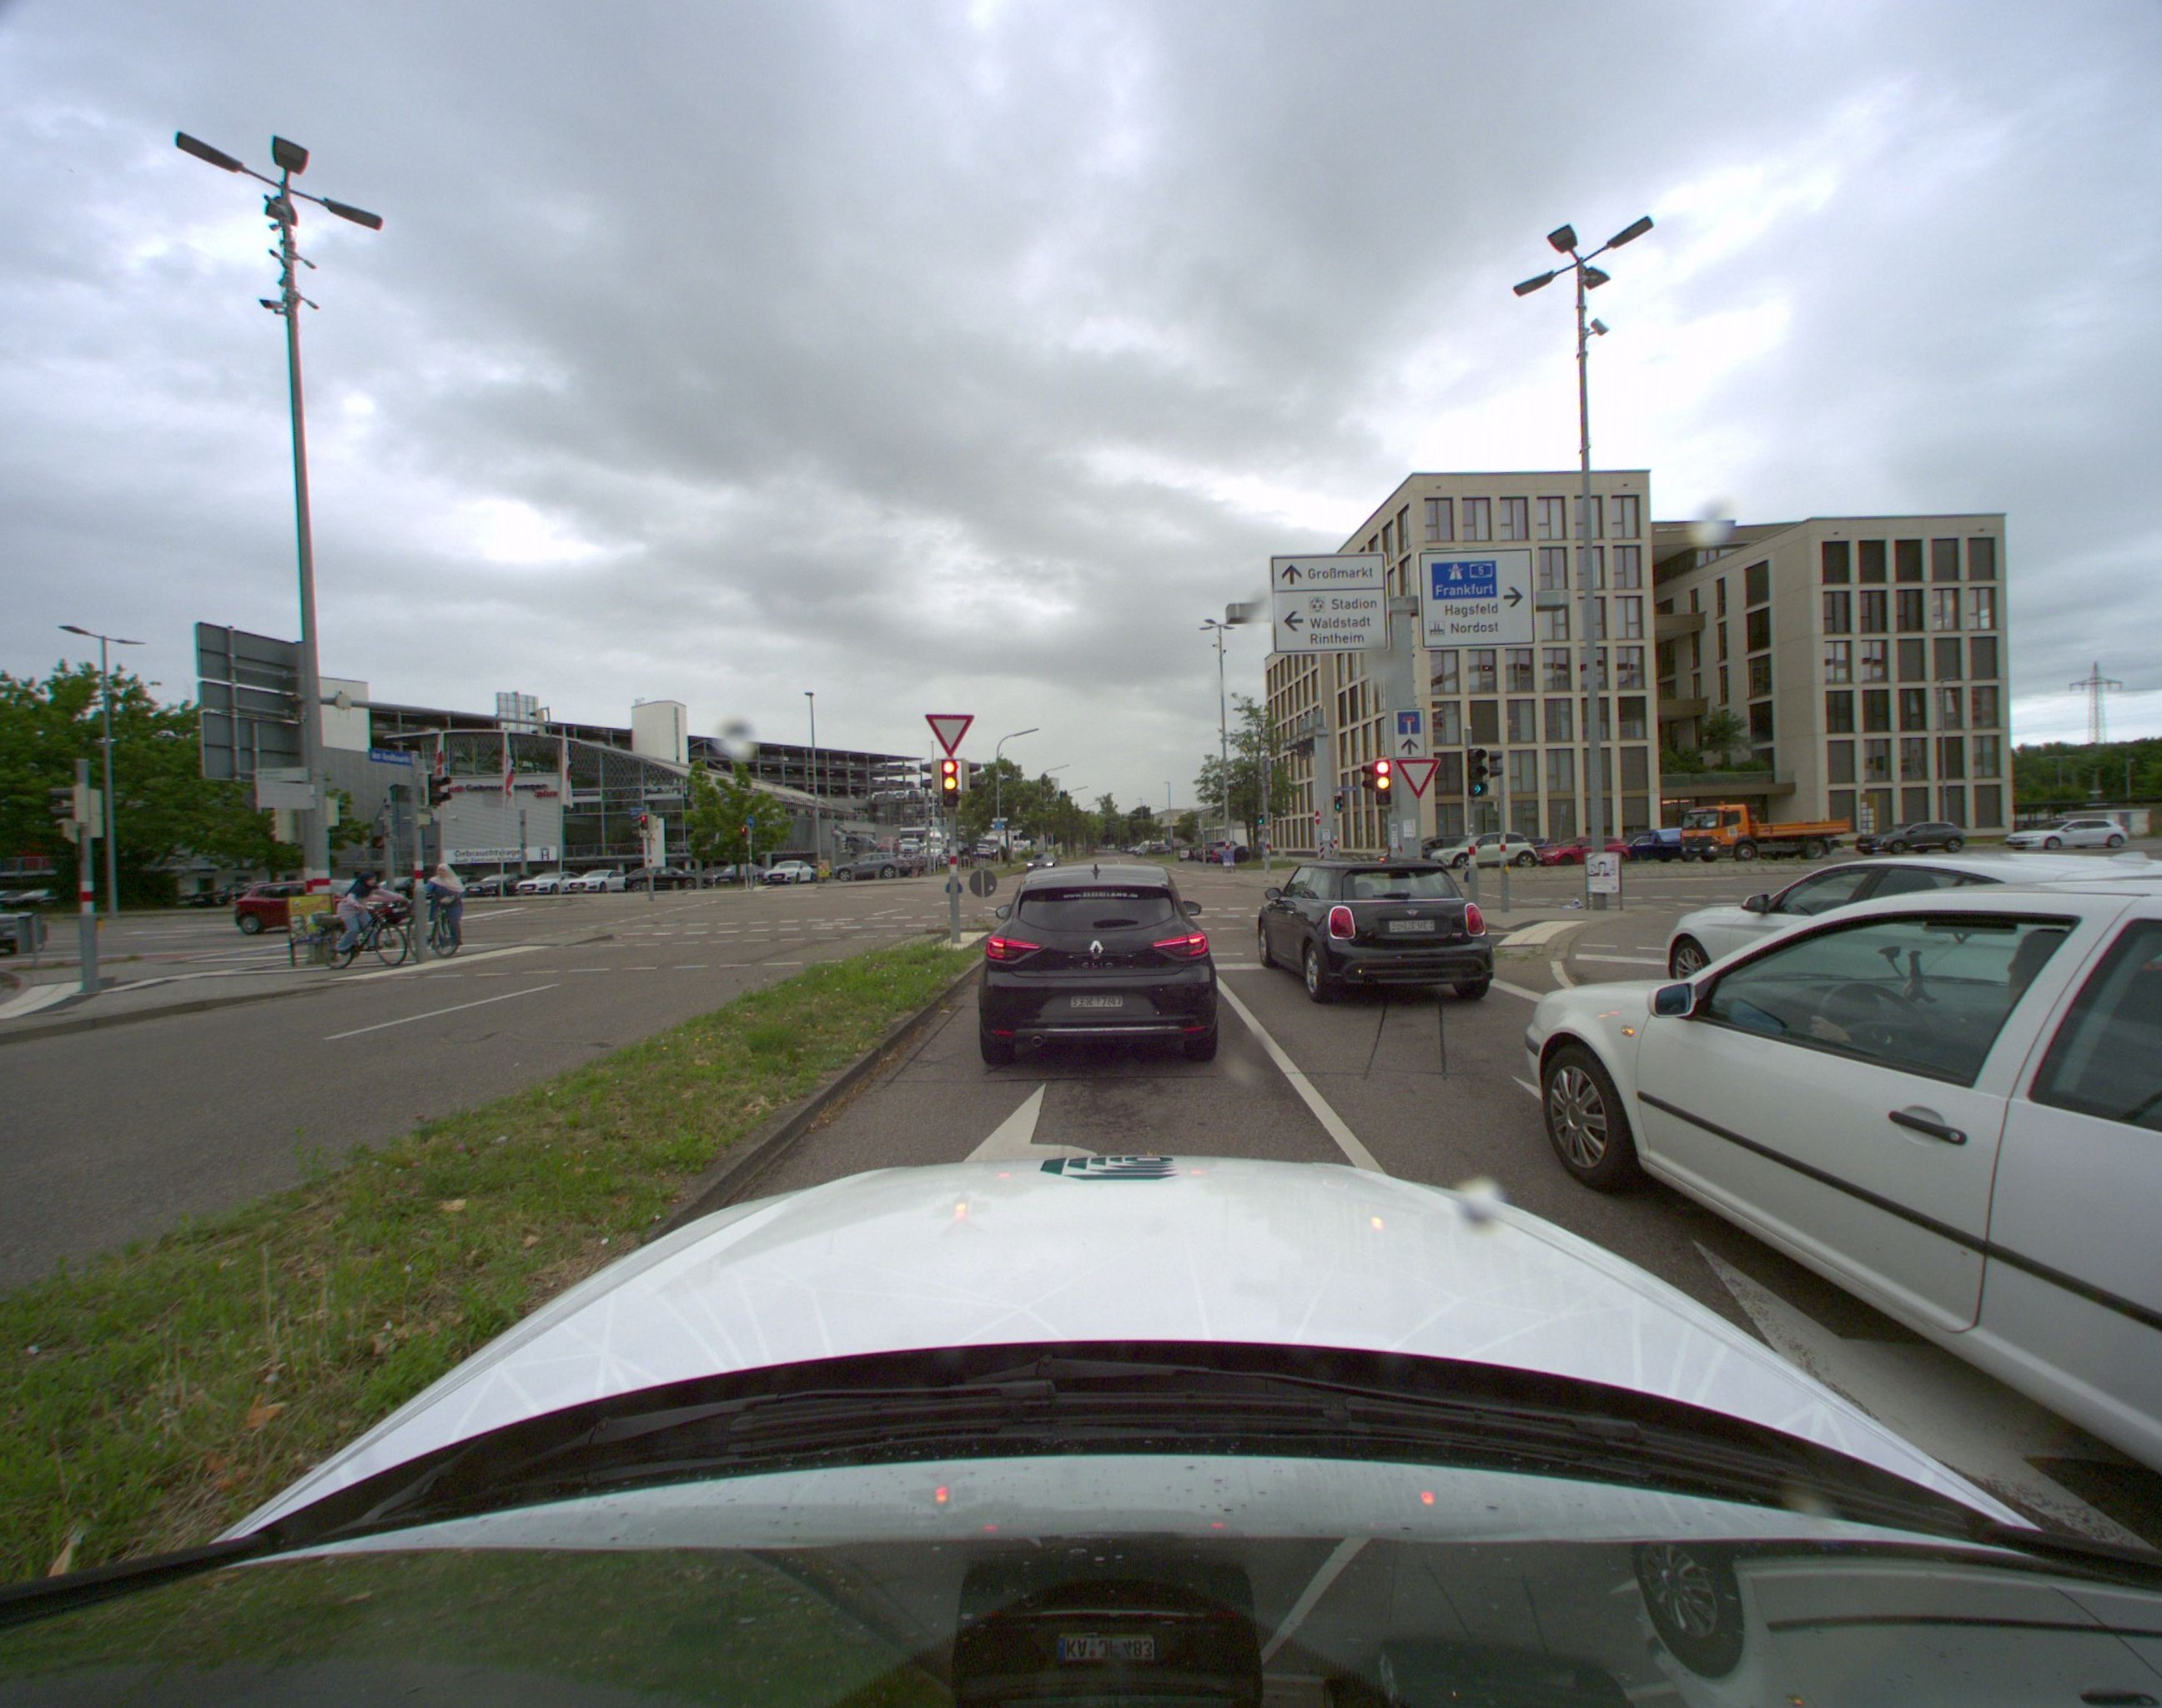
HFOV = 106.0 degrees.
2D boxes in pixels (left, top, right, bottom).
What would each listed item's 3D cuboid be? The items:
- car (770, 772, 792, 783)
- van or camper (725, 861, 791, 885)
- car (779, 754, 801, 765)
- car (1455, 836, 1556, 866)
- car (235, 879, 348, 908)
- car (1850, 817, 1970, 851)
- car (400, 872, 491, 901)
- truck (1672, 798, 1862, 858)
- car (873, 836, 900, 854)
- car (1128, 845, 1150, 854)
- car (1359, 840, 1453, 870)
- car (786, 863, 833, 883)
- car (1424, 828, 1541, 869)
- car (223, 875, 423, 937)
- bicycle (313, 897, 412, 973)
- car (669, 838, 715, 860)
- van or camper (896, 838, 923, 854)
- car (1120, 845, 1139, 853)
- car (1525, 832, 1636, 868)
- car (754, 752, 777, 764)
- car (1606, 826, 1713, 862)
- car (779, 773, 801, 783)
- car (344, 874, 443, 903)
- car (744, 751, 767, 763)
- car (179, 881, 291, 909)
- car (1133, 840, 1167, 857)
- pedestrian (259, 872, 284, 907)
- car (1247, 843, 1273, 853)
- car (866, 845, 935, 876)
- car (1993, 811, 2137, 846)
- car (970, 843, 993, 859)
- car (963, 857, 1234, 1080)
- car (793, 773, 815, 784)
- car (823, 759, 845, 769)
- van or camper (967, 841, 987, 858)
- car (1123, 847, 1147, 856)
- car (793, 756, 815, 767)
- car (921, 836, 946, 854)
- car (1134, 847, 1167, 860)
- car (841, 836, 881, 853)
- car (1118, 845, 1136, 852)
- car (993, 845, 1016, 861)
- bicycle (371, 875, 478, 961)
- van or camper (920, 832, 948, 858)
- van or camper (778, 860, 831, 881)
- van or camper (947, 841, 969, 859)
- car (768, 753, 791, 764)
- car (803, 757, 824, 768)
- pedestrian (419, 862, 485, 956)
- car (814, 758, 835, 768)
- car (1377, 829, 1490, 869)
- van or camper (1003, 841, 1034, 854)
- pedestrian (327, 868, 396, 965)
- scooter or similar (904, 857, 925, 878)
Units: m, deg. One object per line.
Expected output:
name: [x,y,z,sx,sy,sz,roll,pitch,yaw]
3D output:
car: [-56.700,-14.406,153.795,3.948,1.667,2.013,-1,0,33]
van or camper: [-23.429,1.386,59.133,3.977,1.677,1.998,0,-1,-3]
car: [-55.618,-17.962,155.559,3.948,1.667,2.013,-1,0,33]
car: [21.391,-0.138,41.129,4.126,1.490,1.870,0,-1,-3]
car: [-43.817,2.175,45.362,1.837,1.472,4.660,-1,-2,-2]
car: [42.554,-1.001,41.880,4.089,1.657,2.002,0,-1,3]
car: [-35.544,1.842,45.733,1.897,1.486,4.186,-2,-2,-2]
truck: [32.055,-1.169,38.237,6.633,2.638,2.820,0,-1,-1]
car: [-20.100,-0.904,84.243,1.988,1.849,3.997,0,-1,-2]
car: [12.480,-0.973,175.538,4.771,1.891,2.143,0,-1,-1]
car: [16.334,0.055,41.024,4.074,1.432,1.750,0,-1,-3]
car: [-25.973,1.811,78.046,3.979,1.838,1.757,0,-1,-4]
car: [16.920,-0.224,34.448,4.047,1.643,1.903,0,-1,-4]
car: [-22.341,1.506,24.123,4.058,1.487,1.738,-3,0,-5]
bicycle: [-11.758,1.314,13.306,1.923,1.166,0.511,-3,-2,26]
car: [-30.518,-0.394,63.961,1.815,1.662,3.996,0,-1,-3]
van or camper: [-17.663,-0.808,83.944,1.988,1.651,3.997,0,-1,-2]
car: [12.995,-1.396,218.115,5.156,2.014,2.144,0,-1,0]
car: [23.242,-0.157,37.976,3.976,1.601,1.999,0,-1,-2]
car: [-58.654,-17.871,151.366,3.948,1.667,2.013,-1,0,33]
car: [29.477,-0.495,41.588,4.126,1.769,1.998,0,-1,-3]
car: [-55.731,-14.531,155.855,3.948,1.667,2.013,-1,0,33]
car: [-38.402,1.956,45.636,1.883,1.471,4.375,-2,-2,-2]
car: [-59.699,-17.729,149.340,3.948,1.667,2.013,-1,0,33]
car: [-46.624,2.252,45.018,1.845,1.421,4.214,-2,-2,-2]
car: [12.770,-1.041,151.525,6.096,3.116,2.134,0,-1,0]
pedestrian: [-45.117,1.969,45.392,0.714,1.871,0.673,-2,-2,0]
car: [24.295,-0.836,110.464,3.238,1.332,1.477,0,-1,-17]
car: [-13.759,0.488,62.169,4.765,2.013,1.997,-4,0,-5]
car: [49.313,-1.246,40.910,4.319,1.657,2.006,-1,-1,10]
car: [-10.185,-0.293,83.874,1.988,1.618,3.997,0,-1,-2]
car: [0.174,0.761,7.287,1.750,1.434,4.001,0,-1,2]
car: [-53.818,-14.645,158.041,3.948,1.667,2.013,-1,0,33]
car: [-49.787,-18.134,164.205,3.948,1.667,2.013,-1,0,33]
van or camper: [-12.134,-0.507,95.360,1.988,2.014,3.997,0,-1,-2]
car: [12.019,-0.617,182.149,5.156,2.014,2.144,0,-1,0]
car: [-53.839,-17.976,158.160,3.948,1.667,2.013,-1,0,33]
car: [-15.202,-0.915,84.012,1.988,1.823,3.997,0,-1,-2]
car: [10.982,-0.136,128.935,5.158,2.014,2.143,0,-1,-1]
car: [-24.511,-1.079,91.015,3.975,1.838,1.759,0,-1,-1]
car: [12.930,-1.606,229.884,4.771,1.891,2.143,0,-1,-1]
car: [-7.924,-0.067,84.409,1.987,1.618,3.999,0,-1,0]
bicycle: [-11.682,1.147,14.484,1.910,1.396,0.600,-5,0,25]
van or camper: [-17.180,-1.016,95.302,2.529,3.026,4.840,0,-1,-2]
van or camper: [-23.740,1.411,69.998,3.977,1.711,1.846,0,-1,-2]
van or camper: [-14.333,-0.492,95.221,1.988,2.014,3.997,0,-1,-2]
car: [-56.964,-17.967,153.722,3.948,1.667,2.013,-1,0,33]
car: [-52.609,-17.969,160.144,3.948,1.667,2.013,-1,0,33]
pedestrian: [-11.503,1.004,14.895,0.683,1.626,0.645,-5,-1,29]
car: [-51.139,-18.147,162.413,3.948,1.667,2.013,-1,0,33]
car: [16.271,-0.212,37.741,4.396,1.769,1.998,0,-1,-3]
van or camper: [-11.518,-1.197,150.783,5.580,2.372,2.000,0,-1,0]
pedestrian: [-11.856,1.020,13.425,0.641,1.549,0.658,-3,-2,26]
scooter or similar: [-9.953,0.787,48.700,0.553,1.218,1.567,1,1,16]
